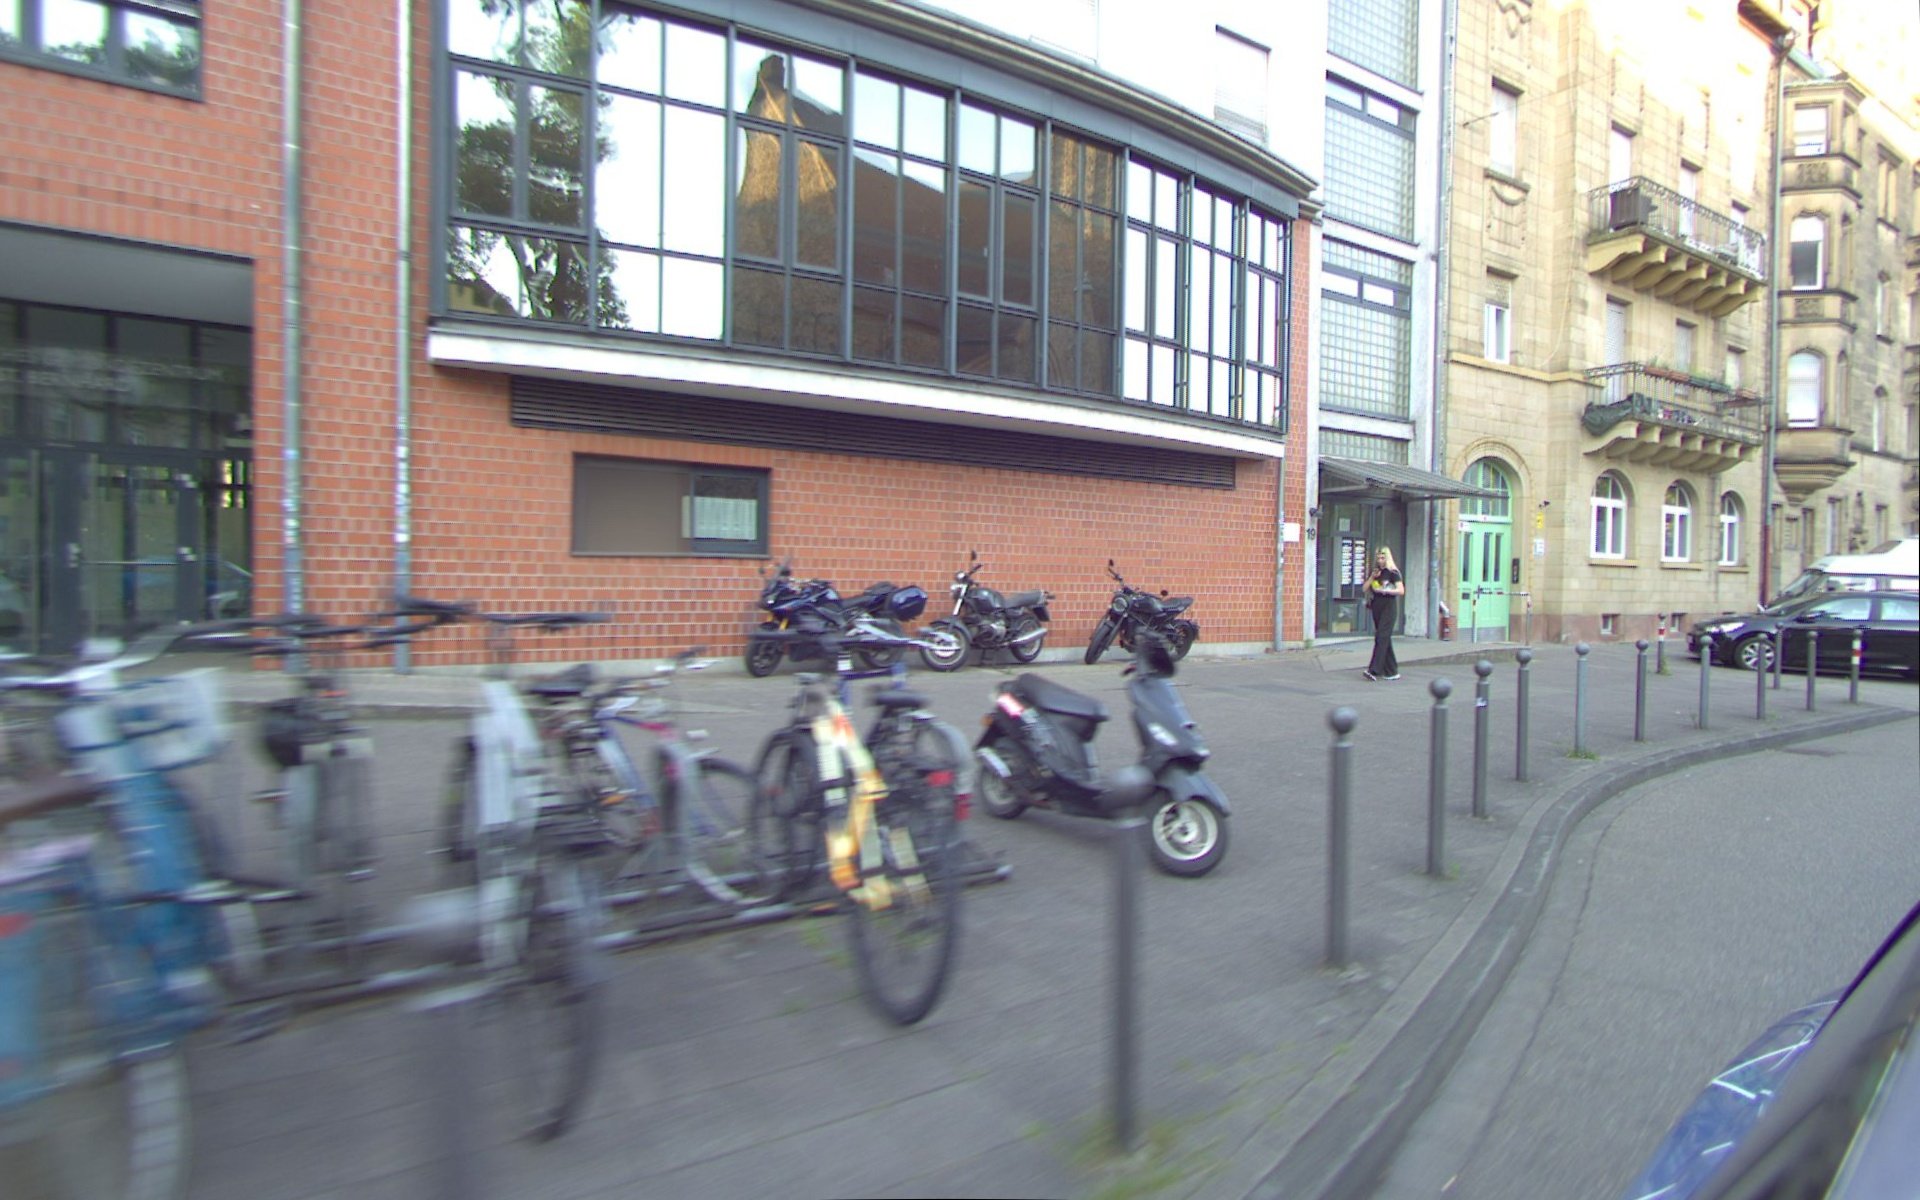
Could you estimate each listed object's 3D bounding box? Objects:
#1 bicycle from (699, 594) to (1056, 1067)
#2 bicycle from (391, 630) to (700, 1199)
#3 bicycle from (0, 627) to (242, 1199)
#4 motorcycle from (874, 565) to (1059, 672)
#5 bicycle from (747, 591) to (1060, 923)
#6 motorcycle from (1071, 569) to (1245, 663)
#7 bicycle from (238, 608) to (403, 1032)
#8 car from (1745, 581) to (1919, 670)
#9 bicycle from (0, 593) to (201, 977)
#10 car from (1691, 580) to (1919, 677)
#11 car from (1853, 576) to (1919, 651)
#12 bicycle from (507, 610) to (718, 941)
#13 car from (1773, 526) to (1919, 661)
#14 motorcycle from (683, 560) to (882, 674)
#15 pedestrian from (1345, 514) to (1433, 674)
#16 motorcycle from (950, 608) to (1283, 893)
[{"bbox_3d":[-0.398,0.621,3.569,0.463,1.190,1.714,0,3,-33],"label":"bicycle"},{"bbox_3d":[-1.293,0.695,2.907,0.463,1.051,1.865,0,3,-33],"label":"bicycle"},{"bbox_3d":[-2.049,0.683,2.451,0.437,1.078,1.865,0,3,-33],"label":"bicycle"},{"bbox_3d":[0.127,0.179,12.193,0.775,1.153,2.378,4,3,44],"label":"motorcycle"},{"bbox_3d":[-0.372,0.606,4.883,0.646,1.159,1.867,0,4,-32],"label":"bicycle"},{"bbox_3d":[2.707,0.188,13.723,2.393,1.153,0.803,0,3,-33],"label":"motorcycle"},{"bbox_3d":[-2.336,0.620,3.680,0.394,1.051,1.865,0,3,-33],"label":"bicycle"},{"bbox_3d":[17.220,0.444,18.444,4.320,1.521,1.893,2,1,30],"label":"car"},{"bbox_3d":[-3.345,0.564,3.933,0.514,1.078,1.865,0,3,-33],"label":"bicycle"},{"bbox_3d":[15.091,0.441,17.227,4.031,1.510,1.708,2,1,27],"label":"car"},{"bbox_3d":[21.841,0.379,21.131,4.359,1.504,1.826,4,3,28],"label":"car"},{"bbox_3d":[-1.532,0.623,4.303,0.463,1.051,1.546,0,3,-33],"label":"bicycle"},{"bbox_3d":[19.219,-0.132,19.918,4.684,2.578,1.899,1,2,29],"label":"car"},{"bbox_3d":[-1.892,0.159,10.962,2.045,1.116,0.590,0,4,-36],"label":"motorcycle"},{"bbox_3d":[5.660,-0.095,13.370,0.841,2.038,0.610,0,3,-32],"label":"pedestrian"},{"bbox_3d":[0.737,0.663,5.234,0.636,1.115,1.648,0,4,-40],"label":"motorcycle"}]
